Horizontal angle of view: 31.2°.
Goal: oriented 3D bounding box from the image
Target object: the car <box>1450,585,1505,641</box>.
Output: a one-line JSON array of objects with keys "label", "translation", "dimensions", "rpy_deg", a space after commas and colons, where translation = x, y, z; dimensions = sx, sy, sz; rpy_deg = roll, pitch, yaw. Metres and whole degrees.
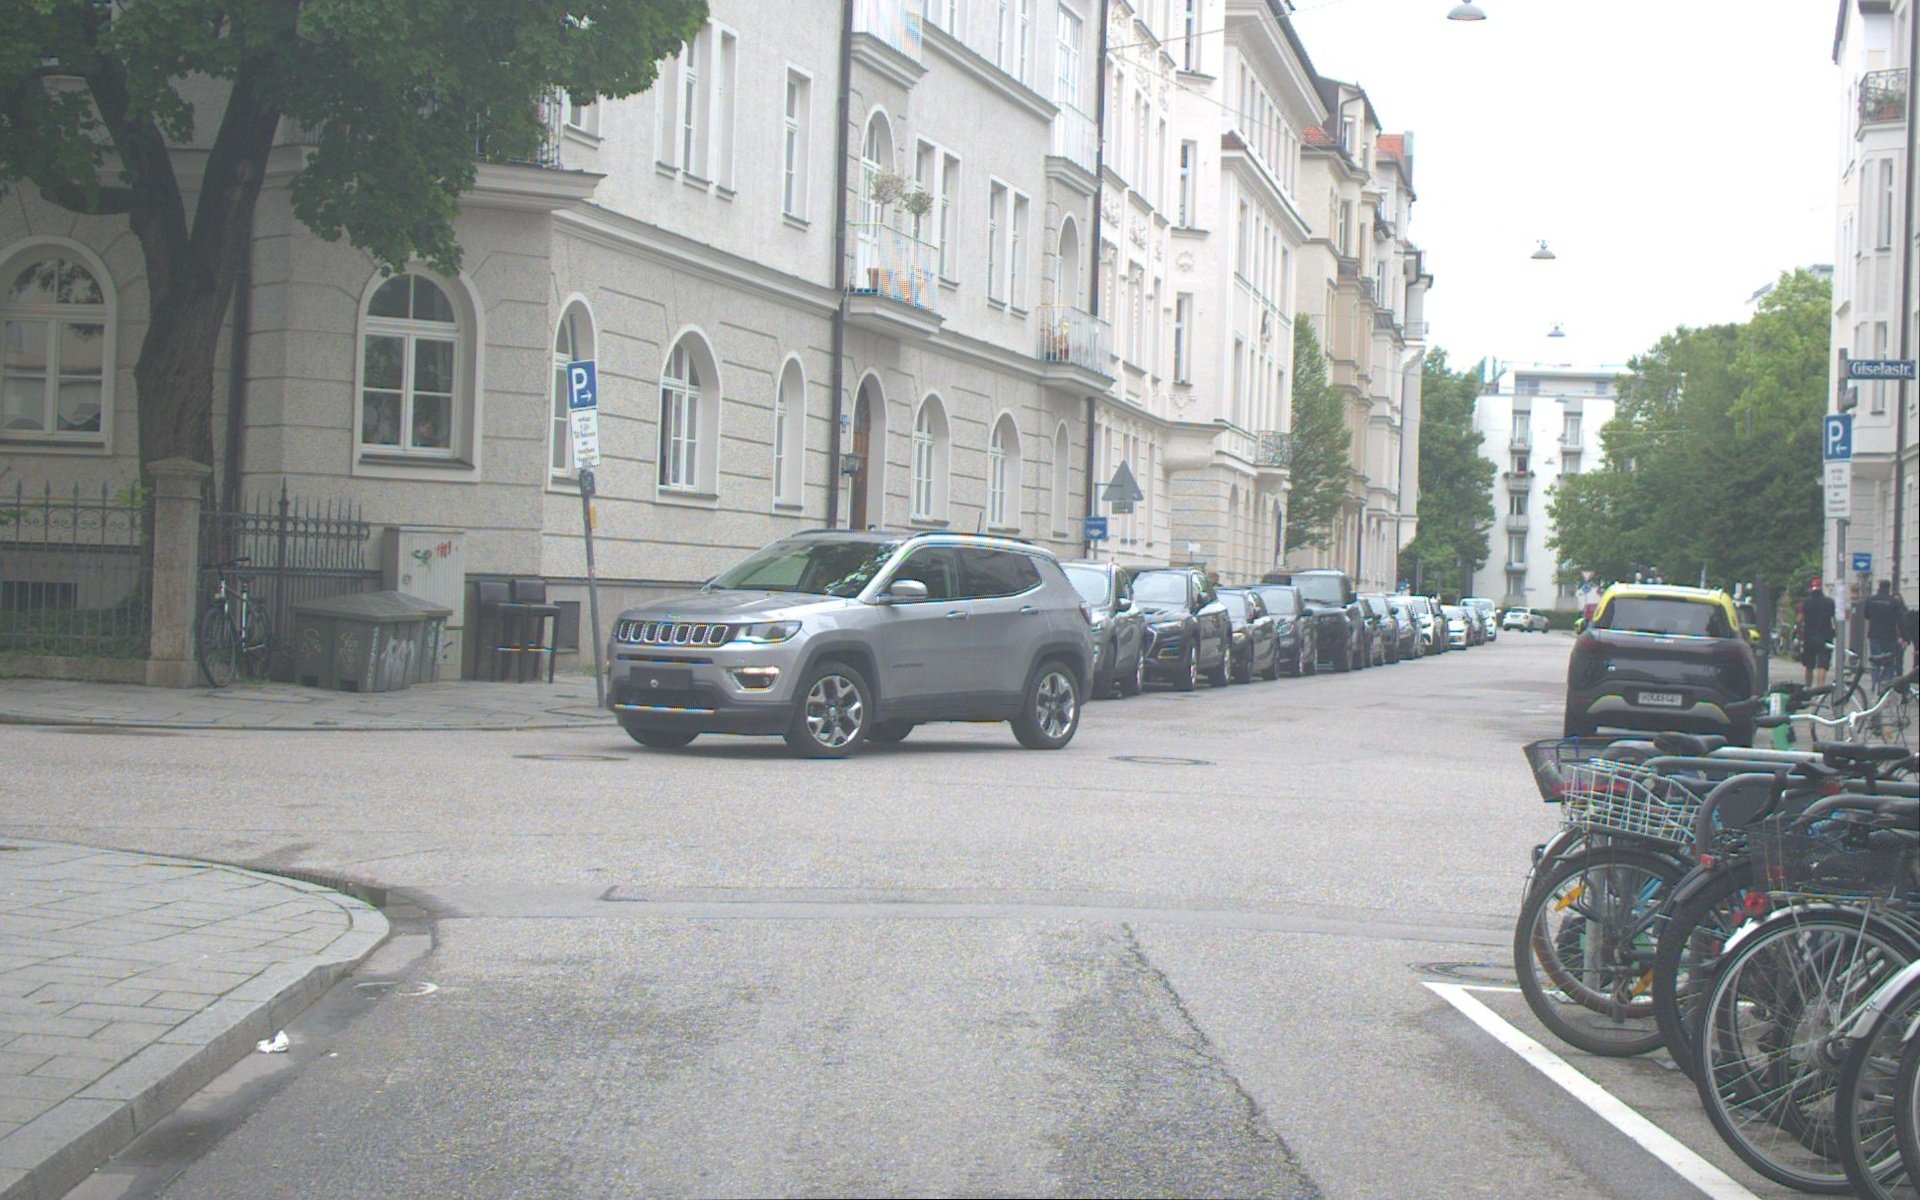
[{"label": "car", "translation": [19.588, 0.477, 130.136], "dimensions": [1.847, 2.007, 3.998], "rpy_deg": [2, 0, 10]}]

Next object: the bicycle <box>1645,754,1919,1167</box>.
[{"label": "bicycle", "translation": [2.787, 1.005, 9.508], "dimensions": [1.674, 1.076, 0.336], "rpy_deg": [2, 2, -4]}]

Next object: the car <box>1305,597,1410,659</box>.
[{"label": "car", "translation": [8.646, 0.592, 74.554], "dimensions": [1.907, 1.218, 3.998], "rpy_deg": [2, 1, 11]}]

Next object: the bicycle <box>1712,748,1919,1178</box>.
[{"label": "bicycle", "translation": [2.867, 0.971, 9.124], "dimensions": [1.612, 1.076, 0.378], "rpy_deg": [2, 2, -4]}]

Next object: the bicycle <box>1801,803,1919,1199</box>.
[{"label": "bicycle", "translation": [2.864, 1.013, 7.547], "dimensions": [1.873, 1.048, 0.564], "rpy_deg": [2, -1, -4]}]

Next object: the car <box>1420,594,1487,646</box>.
[{"label": "car", "translation": [16.103, 0.626, 112.115], "dimensions": [1.994, 1.568, 3.998], "rpy_deg": [2, 1, 10]}]

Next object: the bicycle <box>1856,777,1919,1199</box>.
[{"label": "bicycle", "translation": [2.787, 0.948, 6.842], "dimensions": [1.873, 1.091, 0.440], "rpy_deg": [2, 2, -4]}]

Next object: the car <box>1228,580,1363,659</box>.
[{"label": "car", "translation": [6.200, 0.339, 63.180], "dimensions": [1.908, 1.324, 3.998], "rpy_deg": [2, 1, 13]}]

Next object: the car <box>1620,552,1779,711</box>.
[{"label": "car", "translation": [9.756, 0.395, 45.377], "dimensions": [1.821, 1.864, 4.286], "rpy_deg": [4, 1, 12]}]

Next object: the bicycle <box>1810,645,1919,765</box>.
[{"label": "bicycle", "translation": [8.358, 0.938, 31.216], "dimensions": [0.539, 0.995, 1.756], "rpy_deg": [-1, 1, -11]}]

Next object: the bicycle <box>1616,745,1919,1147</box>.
[{"label": "bicycle", "translation": [2.833, 1.004, 9.923], "dimensions": [1.740, 1.076, 0.452], "rpy_deg": [2, 2, -4]}]

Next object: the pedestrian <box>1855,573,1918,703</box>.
[{"label": "pedestrian", "translation": [13.439, 0.544, 49.902], "dimensions": [0.778, 1.845, 1.022], "rpy_deg": [2, 1, 13]}]

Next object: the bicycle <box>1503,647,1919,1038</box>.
[{"label": "bicycle", "translation": [2.716, 0.848, 12.164], "dimensions": [1.457, 1.281, 0.445], "rpy_deg": [3, 1, 0]}]

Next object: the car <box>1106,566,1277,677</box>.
[{"label": "car", "translation": [3.585, 0.311, 52.627], "dimensions": [1.927, 1.541, 3.998], "rpy_deg": [3, 1, 13]}]

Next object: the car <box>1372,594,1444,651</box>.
[{"label": "car", "translation": [11.982, 0.586, 91.765], "dimensions": [1.734, 1.415, 3.998], "rpy_deg": [2, 1, 9]}]

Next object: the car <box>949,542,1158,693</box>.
[{"label": "car", "translation": [1.198, 0.197, 42.102], "dimensions": [1.994, 1.670, 4.011], "rpy_deg": [2, 1, 9]}]

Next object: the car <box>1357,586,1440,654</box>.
[{"label": "car", "translation": [10.975, 0.485, 85.891], "dimensions": [1.821, 1.568, 3.998], "rpy_deg": [2, 1, 10]}]

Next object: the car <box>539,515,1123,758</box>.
[{"label": "car", "translation": [-0.860, 0.253, 25.385], "dimensions": [1.962, 1.602, 4.299], "rpy_deg": [2, 1, 38]}]

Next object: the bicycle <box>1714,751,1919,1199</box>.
[{"label": "bicycle", "translation": [2.809, 0.948, 8.244], "dimensions": [1.873, 1.076, 0.402], "rpy_deg": [2, 2, -4]}]

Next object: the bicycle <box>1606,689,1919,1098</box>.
[{"label": "bicycle", "translation": [2.803, 0.916, 10.706], "dimensions": [1.450, 1.203, 0.395], "rpy_deg": [3, 1, -9]}]

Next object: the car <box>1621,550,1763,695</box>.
[{"label": "car", "translation": [10.778, 0.314, 50.601], "dimensions": [1.821, 1.917, 4.181], "rpy_deg": [4, 1, 12]}]

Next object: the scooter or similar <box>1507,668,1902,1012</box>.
[{"label": "scooter or similar", "translation": [2.795, 0.894, 12.963], "dimensions": [1.352, 1.206, 0.417], "rpy_deg": [2, 0, 1]}]

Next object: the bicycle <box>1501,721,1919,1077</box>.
[{"label": "bicycle", "translation": [2.551, 0.966, 11.153], "dimensions": [1.450, 1.066, 0.463], "rpy_deg": [3, 1, -9]}]

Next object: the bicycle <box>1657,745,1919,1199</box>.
[{"label": "bicycle", "translation": [2.761, 0.952, 8.682], "dimensions": [1.873, 1.076, 0.408], "rpy_deg": [2, 2, -4]}]

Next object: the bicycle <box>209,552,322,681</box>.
[{"label": "bicycle", "translation": [-6.192, 0.131, 30.729], "dimensions": [0.493, 1.049, 1.827], "rpy_deg": [2, 3, 4]}]

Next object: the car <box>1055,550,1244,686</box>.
[{"label": "car", "translation": [2.623, 0.227, 46.640], "dimensions": [1.994, 1.670, 4.287], "rpy_deg": [2, 1, 10]}]

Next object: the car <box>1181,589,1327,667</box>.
[{"label": "car", "translation": [5.058, 0.457, 58.710], "dimensions": [1.908, 1.218, 3.998], "rpy_deg": [2, 1, 13]}]

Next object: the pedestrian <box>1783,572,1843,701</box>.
[{"label": "pedestrian", "translation": [12.546, 0.526, 50.580], "dimensions": [0.778, 1.845, 1.022], "rpy_deg": [2, 1, 13]}]

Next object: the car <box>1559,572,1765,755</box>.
[{"label": "car", "translation": [7.221, 0.609, 35.256], "dimensions": [1.821, 1.630, 4.286], "rpy_deg": [4, 1, 12]}]
